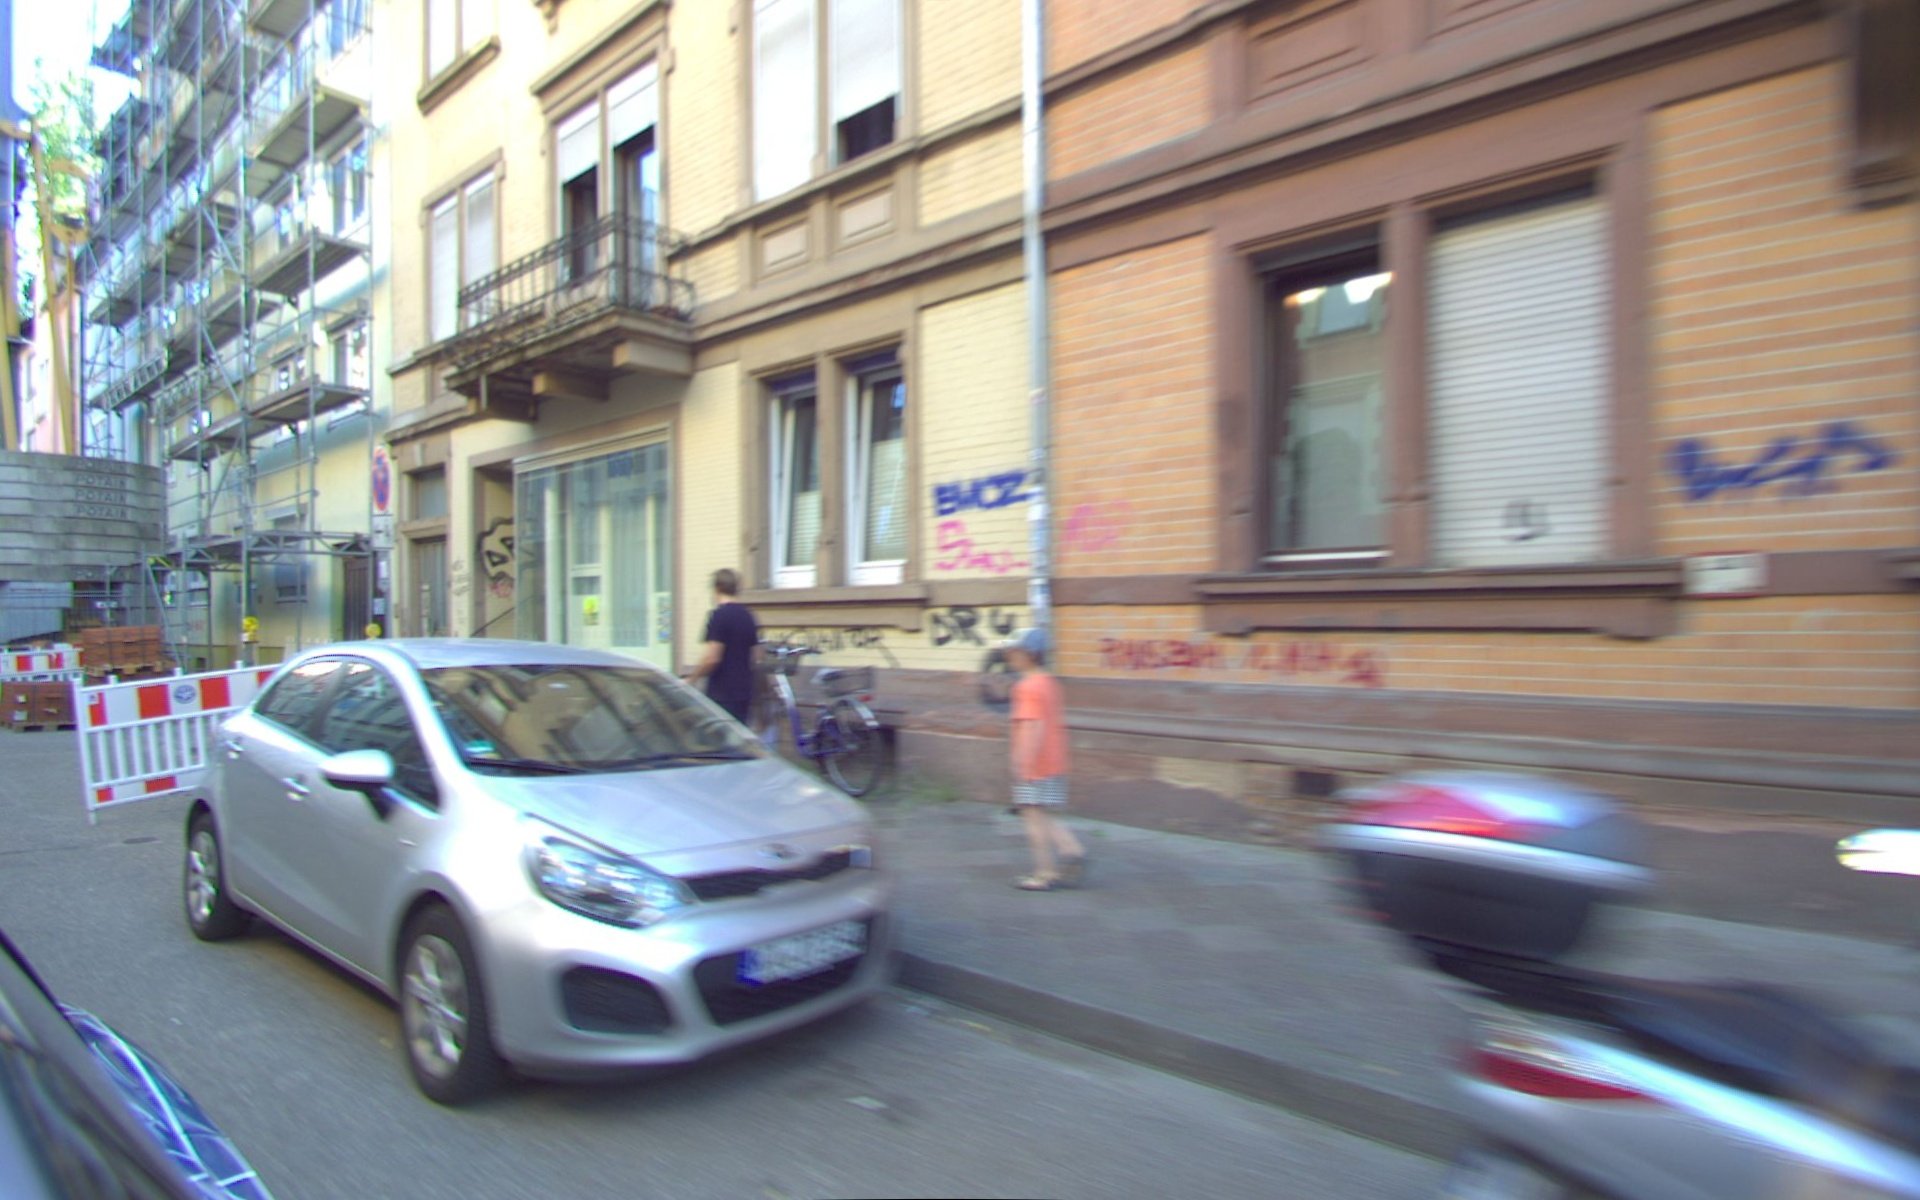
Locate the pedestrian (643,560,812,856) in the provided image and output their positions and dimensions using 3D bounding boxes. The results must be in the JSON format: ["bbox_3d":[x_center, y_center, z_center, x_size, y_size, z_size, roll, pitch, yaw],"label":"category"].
[{"bbox_3d":[-1.527,0.661,6.638,0.886,1.778,0.679,-2,-2,38],"label":"pedestrian"}]

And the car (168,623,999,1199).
[{"bbox_3d":[-1.906,0.842,4.446,3.997,1.430,1.657,-2,-3,40],"label":"car"}]

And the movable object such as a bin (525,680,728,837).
[{"bbox_3d":[-2.434,1.091,7.342,1.413,0.939,0.754,-2,-2,38],"label":"movable object such as a bin"}]

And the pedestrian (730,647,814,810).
[{"bbox_3d":[-1.335,0.890,7.195,0.431,1.095,0.390,-2,-1,35],"label":"pedestrian"}]

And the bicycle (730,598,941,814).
[{"bbox_3d":[-0.974,0.730,7.600,1.711,1.436,0.519,-1,2,42],"label":"bicycle"}]

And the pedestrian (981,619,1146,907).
[{"bbox_3d":[0.505,0.749,4.986,0.646,1.293,0.445,-1,0,41],"label":"pedestrian"}]

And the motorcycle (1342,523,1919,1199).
[{"bbox_3d":[1.848,0.640,1.584,2.165,1.370,0.844,1,-3,-2],"label":"motorcycle"}]
